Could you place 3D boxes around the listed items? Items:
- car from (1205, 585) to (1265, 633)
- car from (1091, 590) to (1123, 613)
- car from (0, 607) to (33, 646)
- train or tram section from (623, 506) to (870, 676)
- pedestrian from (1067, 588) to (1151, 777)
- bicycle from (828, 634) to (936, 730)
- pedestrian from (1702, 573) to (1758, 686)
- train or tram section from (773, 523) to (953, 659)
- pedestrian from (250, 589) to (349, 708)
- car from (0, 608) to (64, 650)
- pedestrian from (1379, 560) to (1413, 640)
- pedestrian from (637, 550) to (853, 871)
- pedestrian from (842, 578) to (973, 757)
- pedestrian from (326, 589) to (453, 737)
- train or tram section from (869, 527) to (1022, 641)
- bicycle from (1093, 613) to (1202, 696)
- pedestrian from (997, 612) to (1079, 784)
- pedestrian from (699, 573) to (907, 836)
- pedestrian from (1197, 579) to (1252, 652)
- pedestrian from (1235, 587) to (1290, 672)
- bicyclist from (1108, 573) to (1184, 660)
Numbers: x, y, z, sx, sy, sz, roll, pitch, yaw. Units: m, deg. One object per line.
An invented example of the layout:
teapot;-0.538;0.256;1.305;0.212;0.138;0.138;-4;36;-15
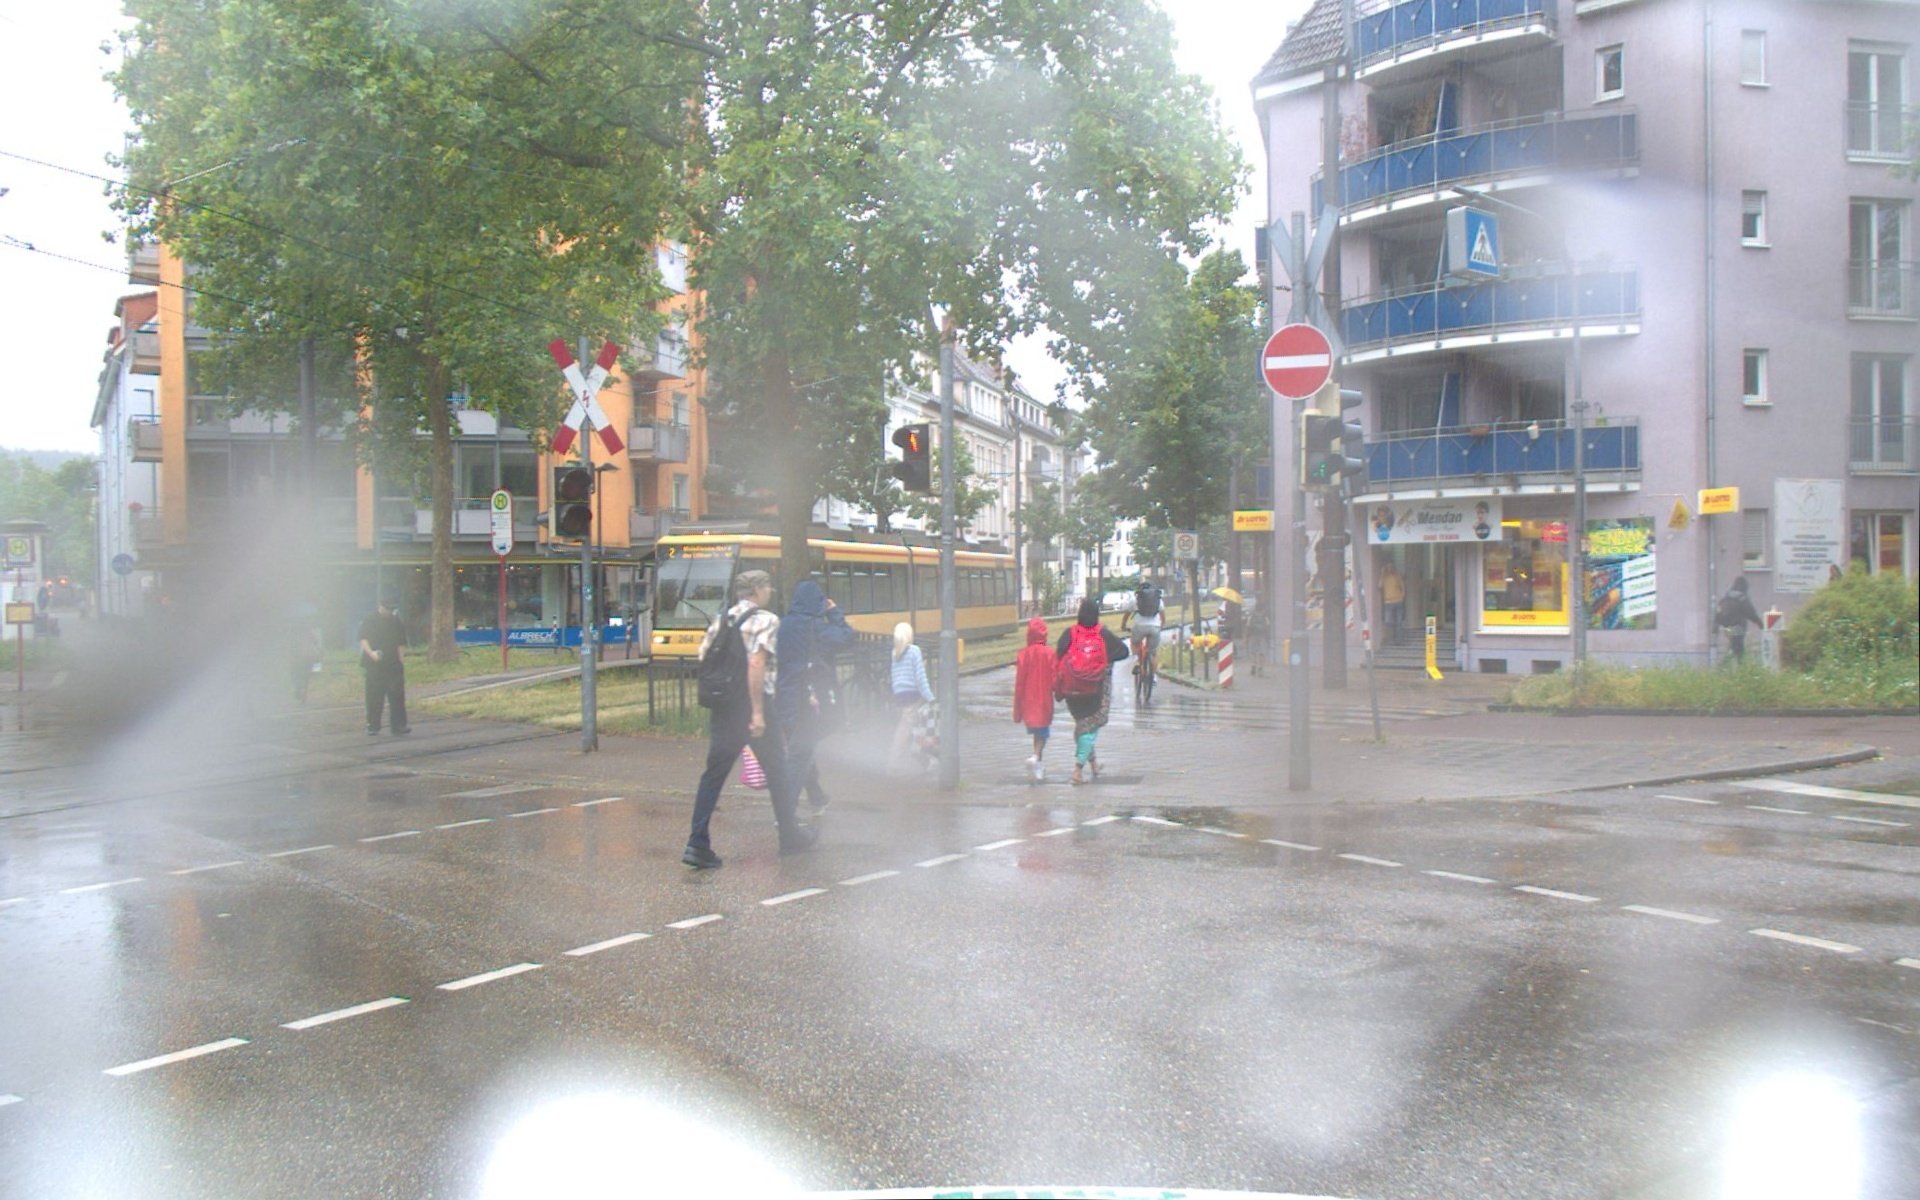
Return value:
car;10.362;0.297;62.140;1.951;1.702;4.004;-1;0;13
car;10.242;0.101;115.039;1.951;1.559;4.004;0;0;10
car;-41.219;1.125;69.265;4.148;1.596;1.868;-1;0;-32
train or tram section;-4.592;-0.197;37.765;2.581;3.428;8.382;0;0;15
pedestrian;1.279;0.695;14.306;0.676;1.575;0.762;-1;1;3
bicycle;-0.954;0.998;20.511;0.437;1.095;1.613;0;0;35
pedestrian;12.752;0.476;27.386;0.616;1.835;0.633;-2;1;-42
train or tram section;-2.486;-0.243;45.864;2.581;3.410;8.383;0;0;14
pedestrian;-11.075;0.786;27.725;1.164;1.897;1.365;0;1;-41
car;-36.121;1.108;61.929;4.485;1.496;1.963;-2;0;-30
pedestrian;8.907;-0.003;33.767;0.464;1.630;0.591;0;0;39
pedestrian;-1.288;0.616;9.989;0.797;1.812;0.989;-1;1;41
pedestrian;-0.459;0.582;14.994;0.857;1.552;1.065;-1;1;18
pedestrian;-7.285;0.773;21.141;1.212;1.820;1.034;0;0;37
train or tram section;-0.266;-0.507;54.765;2.581;3.410;9.995;0;0;14
bicycle;2.939;0.836;26.158;0.741;1.193;2.024;-2;1;-26
pedestrian;0.681;0.831;14.385;0.657;1.405;1.011;-1;1;3
pedestrian;-1.101;0.680;11.605;0.979;1.716;1.049;0;1;44
pedestrian;6.435;0.371;40.252;0.914;1.727;0.941;-1;1;-43
pedestrian;5.781;0.563;31.613;0.970;1.586;0.785;-1;0;14
bicyclist;2.928;0.248;26.129;0.731;1.332;1.068;-2;1;-26
